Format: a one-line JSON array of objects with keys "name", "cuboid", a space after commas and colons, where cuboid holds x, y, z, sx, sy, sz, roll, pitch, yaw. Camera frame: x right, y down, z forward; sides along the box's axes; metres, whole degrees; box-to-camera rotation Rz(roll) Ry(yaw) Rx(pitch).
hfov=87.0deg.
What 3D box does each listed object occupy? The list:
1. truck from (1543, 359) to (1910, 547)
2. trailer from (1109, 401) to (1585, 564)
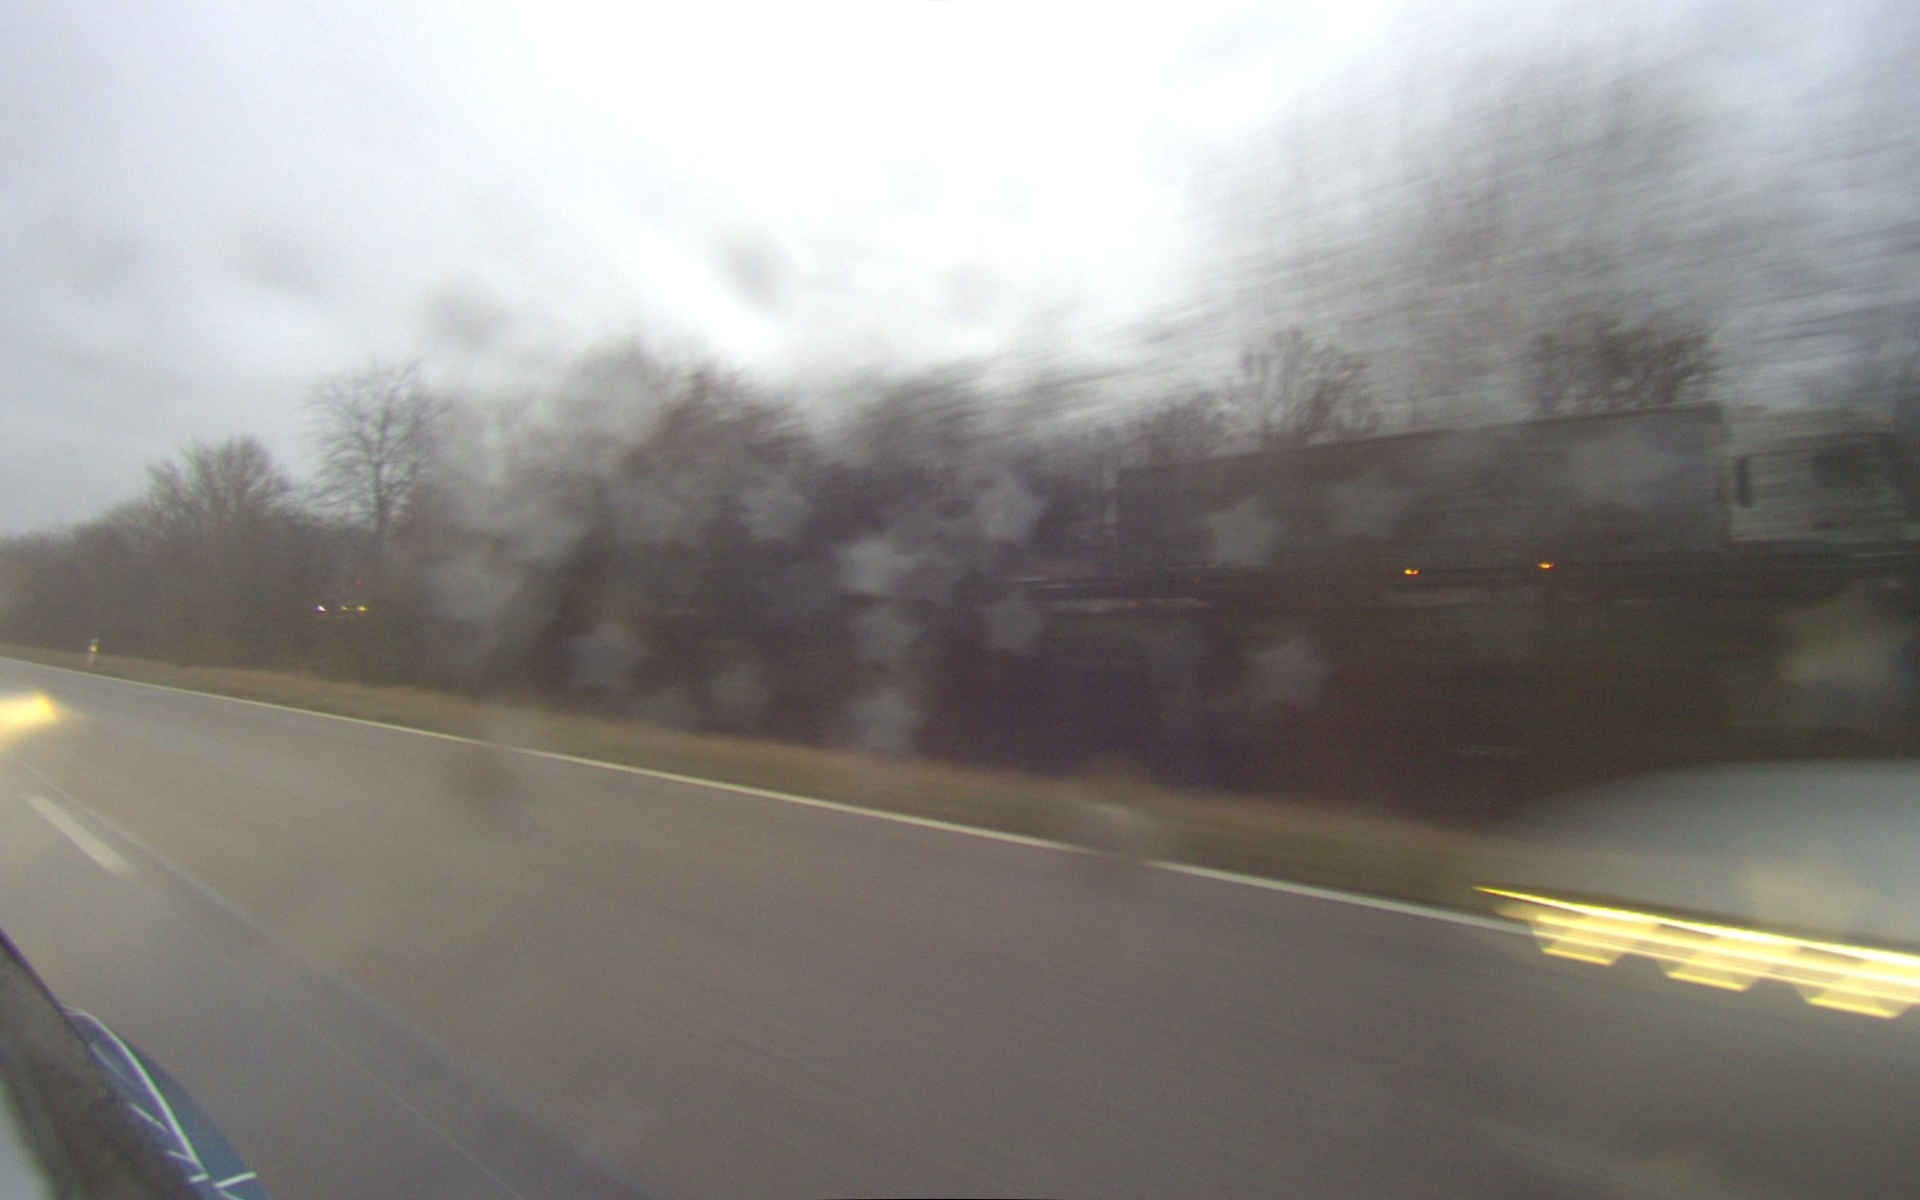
[{"name": "truck", "cuboid": [15.124, -2.695, 20.308, 5.580, 2.909, 2.424, -1, -1, 41]}, {"name": "trailer", "cuboid": [9.127, -2.595, 25.556, 11.079, 2.913, 2.410, -1, -1, 41]}]
